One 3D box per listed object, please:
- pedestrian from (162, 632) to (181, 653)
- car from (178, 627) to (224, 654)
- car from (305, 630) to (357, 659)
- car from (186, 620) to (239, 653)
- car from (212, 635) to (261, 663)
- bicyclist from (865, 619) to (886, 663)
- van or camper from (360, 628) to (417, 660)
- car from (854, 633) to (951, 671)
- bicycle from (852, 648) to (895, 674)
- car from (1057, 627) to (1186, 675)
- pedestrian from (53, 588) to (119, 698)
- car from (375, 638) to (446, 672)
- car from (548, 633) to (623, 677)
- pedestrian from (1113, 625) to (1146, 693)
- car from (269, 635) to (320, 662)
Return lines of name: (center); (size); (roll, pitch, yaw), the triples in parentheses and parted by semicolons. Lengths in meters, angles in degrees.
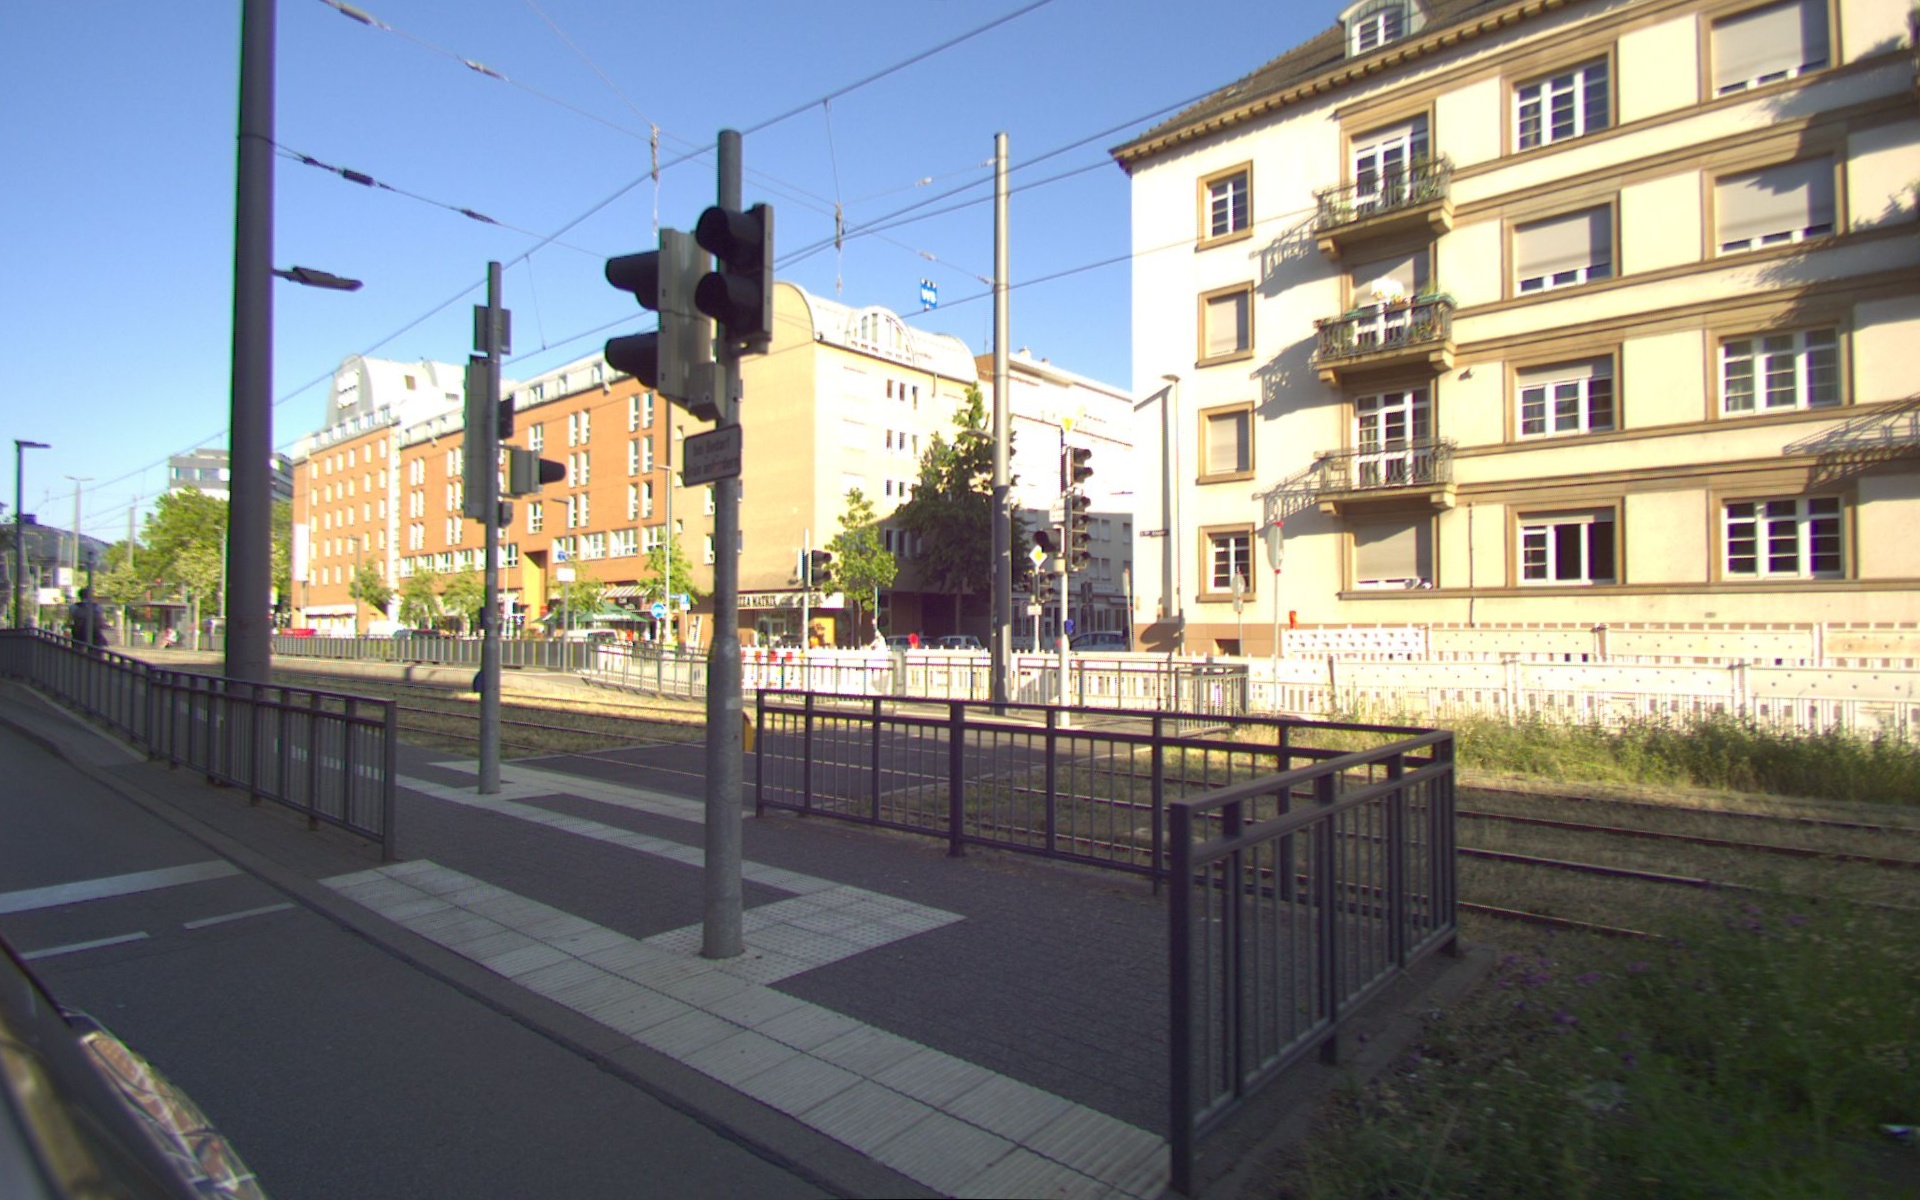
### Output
pedestrian: (-46.024, 2.475, 59.053); (0.906, 1.199, 0.666); (-2, -3, 41)
car: (-67.505, 3.546, 89.955); (5.259, 2.306, 2.058); (-1, -2, 39)
car: (-41.213, 2.924, 66.251); (4.316, 1.881, 1.865); (-3, -4, 44)
car: (-55.550, 2.709, 75.183); (4.916, 2.376, 2.024); (-2, -3, 40)
car: (-50.807, 3.461, 71.056); (4.313, 1.881, 1.866); (-3, -3, 41)
bicyclist: (-3.262, 1.582, 39.019); (0.665, 1.693, 0.481); (-2, -3, 37)
van or camper: (-41.647, 3.221, 73.666); (5.615, 2.186, 1.972); (-4, -4, 43)
car: (-2.587, 2.338, 45.386); (4.148, 1.597, 1.821); (-3, -3, 36)
bicycle: (-3.317, 2.327, 38.913); (0.684, 0.955, 1.720); (-2, -3, 37)
car: (5.686, 1.807, 35.794); (4.122, 1.597, 1.821); (-3, -3, 36)
pedestrian: (-13.624, 0.649, 15.768); (0.867, 1.655, 0.648); (0, -1, 41)
car: (-29.652, 2.943, 54.535); (4.943, 1.730, 1.971); (-2, -3, 45)
car: (-18.150, 2.663, 48.944); (1.970, 2.029, 4.151); (2, -4, -43)
pedestrian: (5.144, 1.783, 30.733); (0.625, 2.029, 0.792); (-3, -4, 41)
car: (-46.944, 3.424, 71.319); (4.312, 1.881, 1.867); (-3, -3, 40)
